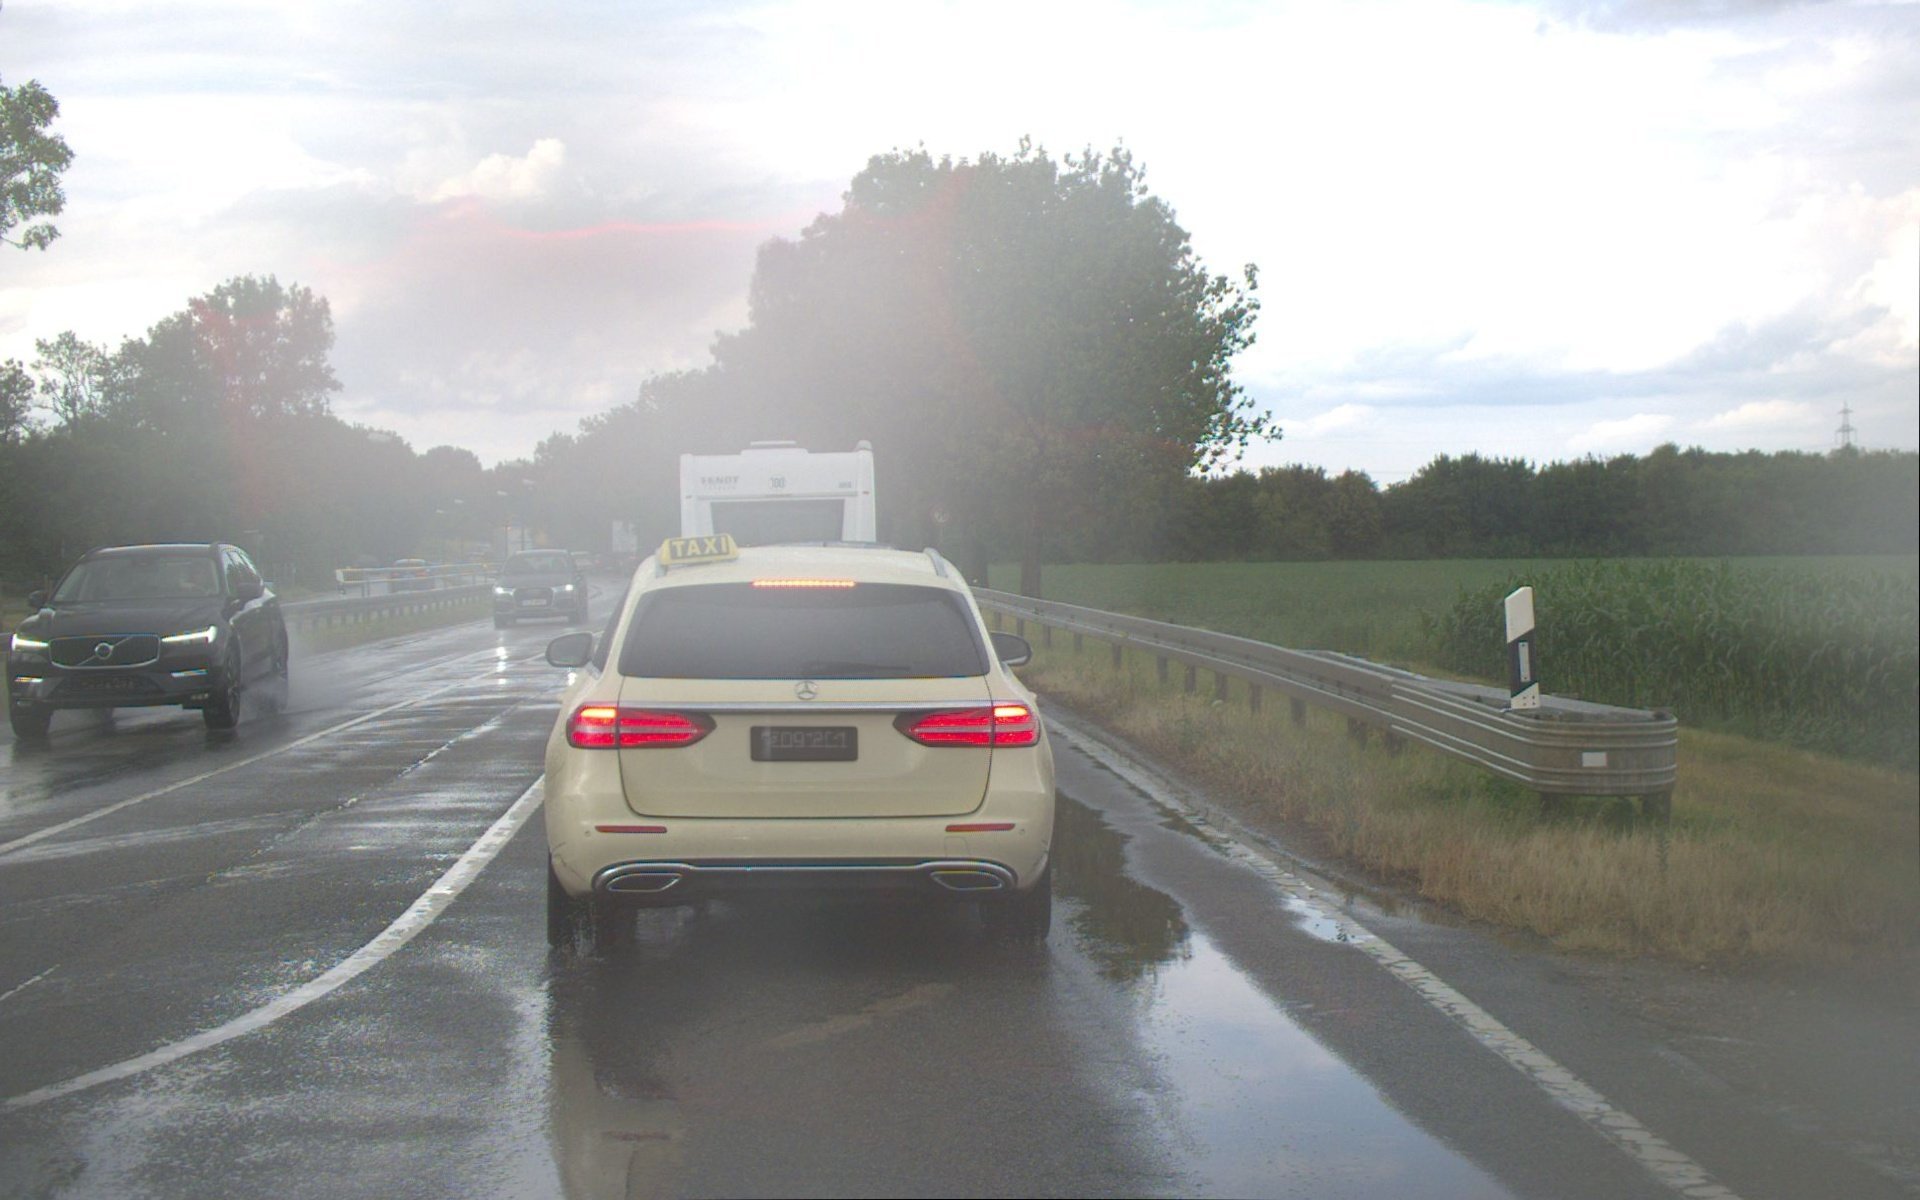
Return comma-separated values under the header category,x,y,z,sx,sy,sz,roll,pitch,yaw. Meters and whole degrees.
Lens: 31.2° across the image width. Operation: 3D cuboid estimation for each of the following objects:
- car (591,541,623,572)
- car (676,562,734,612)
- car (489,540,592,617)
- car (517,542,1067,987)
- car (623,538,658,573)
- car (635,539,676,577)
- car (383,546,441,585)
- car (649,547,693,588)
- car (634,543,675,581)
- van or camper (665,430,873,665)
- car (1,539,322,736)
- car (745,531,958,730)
category,x,y,z,sx,sy,sz,roll,pitch,yaw
car,-23.987,-2.961,233.251,1.993,2.007,4.001,-1,1,-8
car,-10.452,-0.553,140.657,1.993,2.007,4.001,-1,1,-10
car,-8.908,-0.482,73.319,1.768,1.518,4.142,-2,1,-2
car,-0.620,0.516,13.538,1.825,1.480,4.145,0,1,-2
car,-18.686,-2.631,201.002,1.993,2.007,4.001,-1,1,-5
car,-16.773,-2.313,189.490,1.993,2.044,4.000,-1,1,-2
car,-23.883,-1.526,149.978,1.993,1.645,4.000,-1,1,-1
car,-14.297,-1.615,170.072,1.993,2.007,4.001,-1,1,-7
car,-16.157,-2.015,181.823,1.993,2.007,4.001,-1,1,-3
van or camper,-2.333,-0.678,42.415,2.350,2.671,5.769,-1,1,-3
car,-7.081,0.276,30.927,1.944,1.575,4.444,-2,1,-2
car,-0.937,0.198,28.726,1.627,1.524,3.933,-1,1,-3
